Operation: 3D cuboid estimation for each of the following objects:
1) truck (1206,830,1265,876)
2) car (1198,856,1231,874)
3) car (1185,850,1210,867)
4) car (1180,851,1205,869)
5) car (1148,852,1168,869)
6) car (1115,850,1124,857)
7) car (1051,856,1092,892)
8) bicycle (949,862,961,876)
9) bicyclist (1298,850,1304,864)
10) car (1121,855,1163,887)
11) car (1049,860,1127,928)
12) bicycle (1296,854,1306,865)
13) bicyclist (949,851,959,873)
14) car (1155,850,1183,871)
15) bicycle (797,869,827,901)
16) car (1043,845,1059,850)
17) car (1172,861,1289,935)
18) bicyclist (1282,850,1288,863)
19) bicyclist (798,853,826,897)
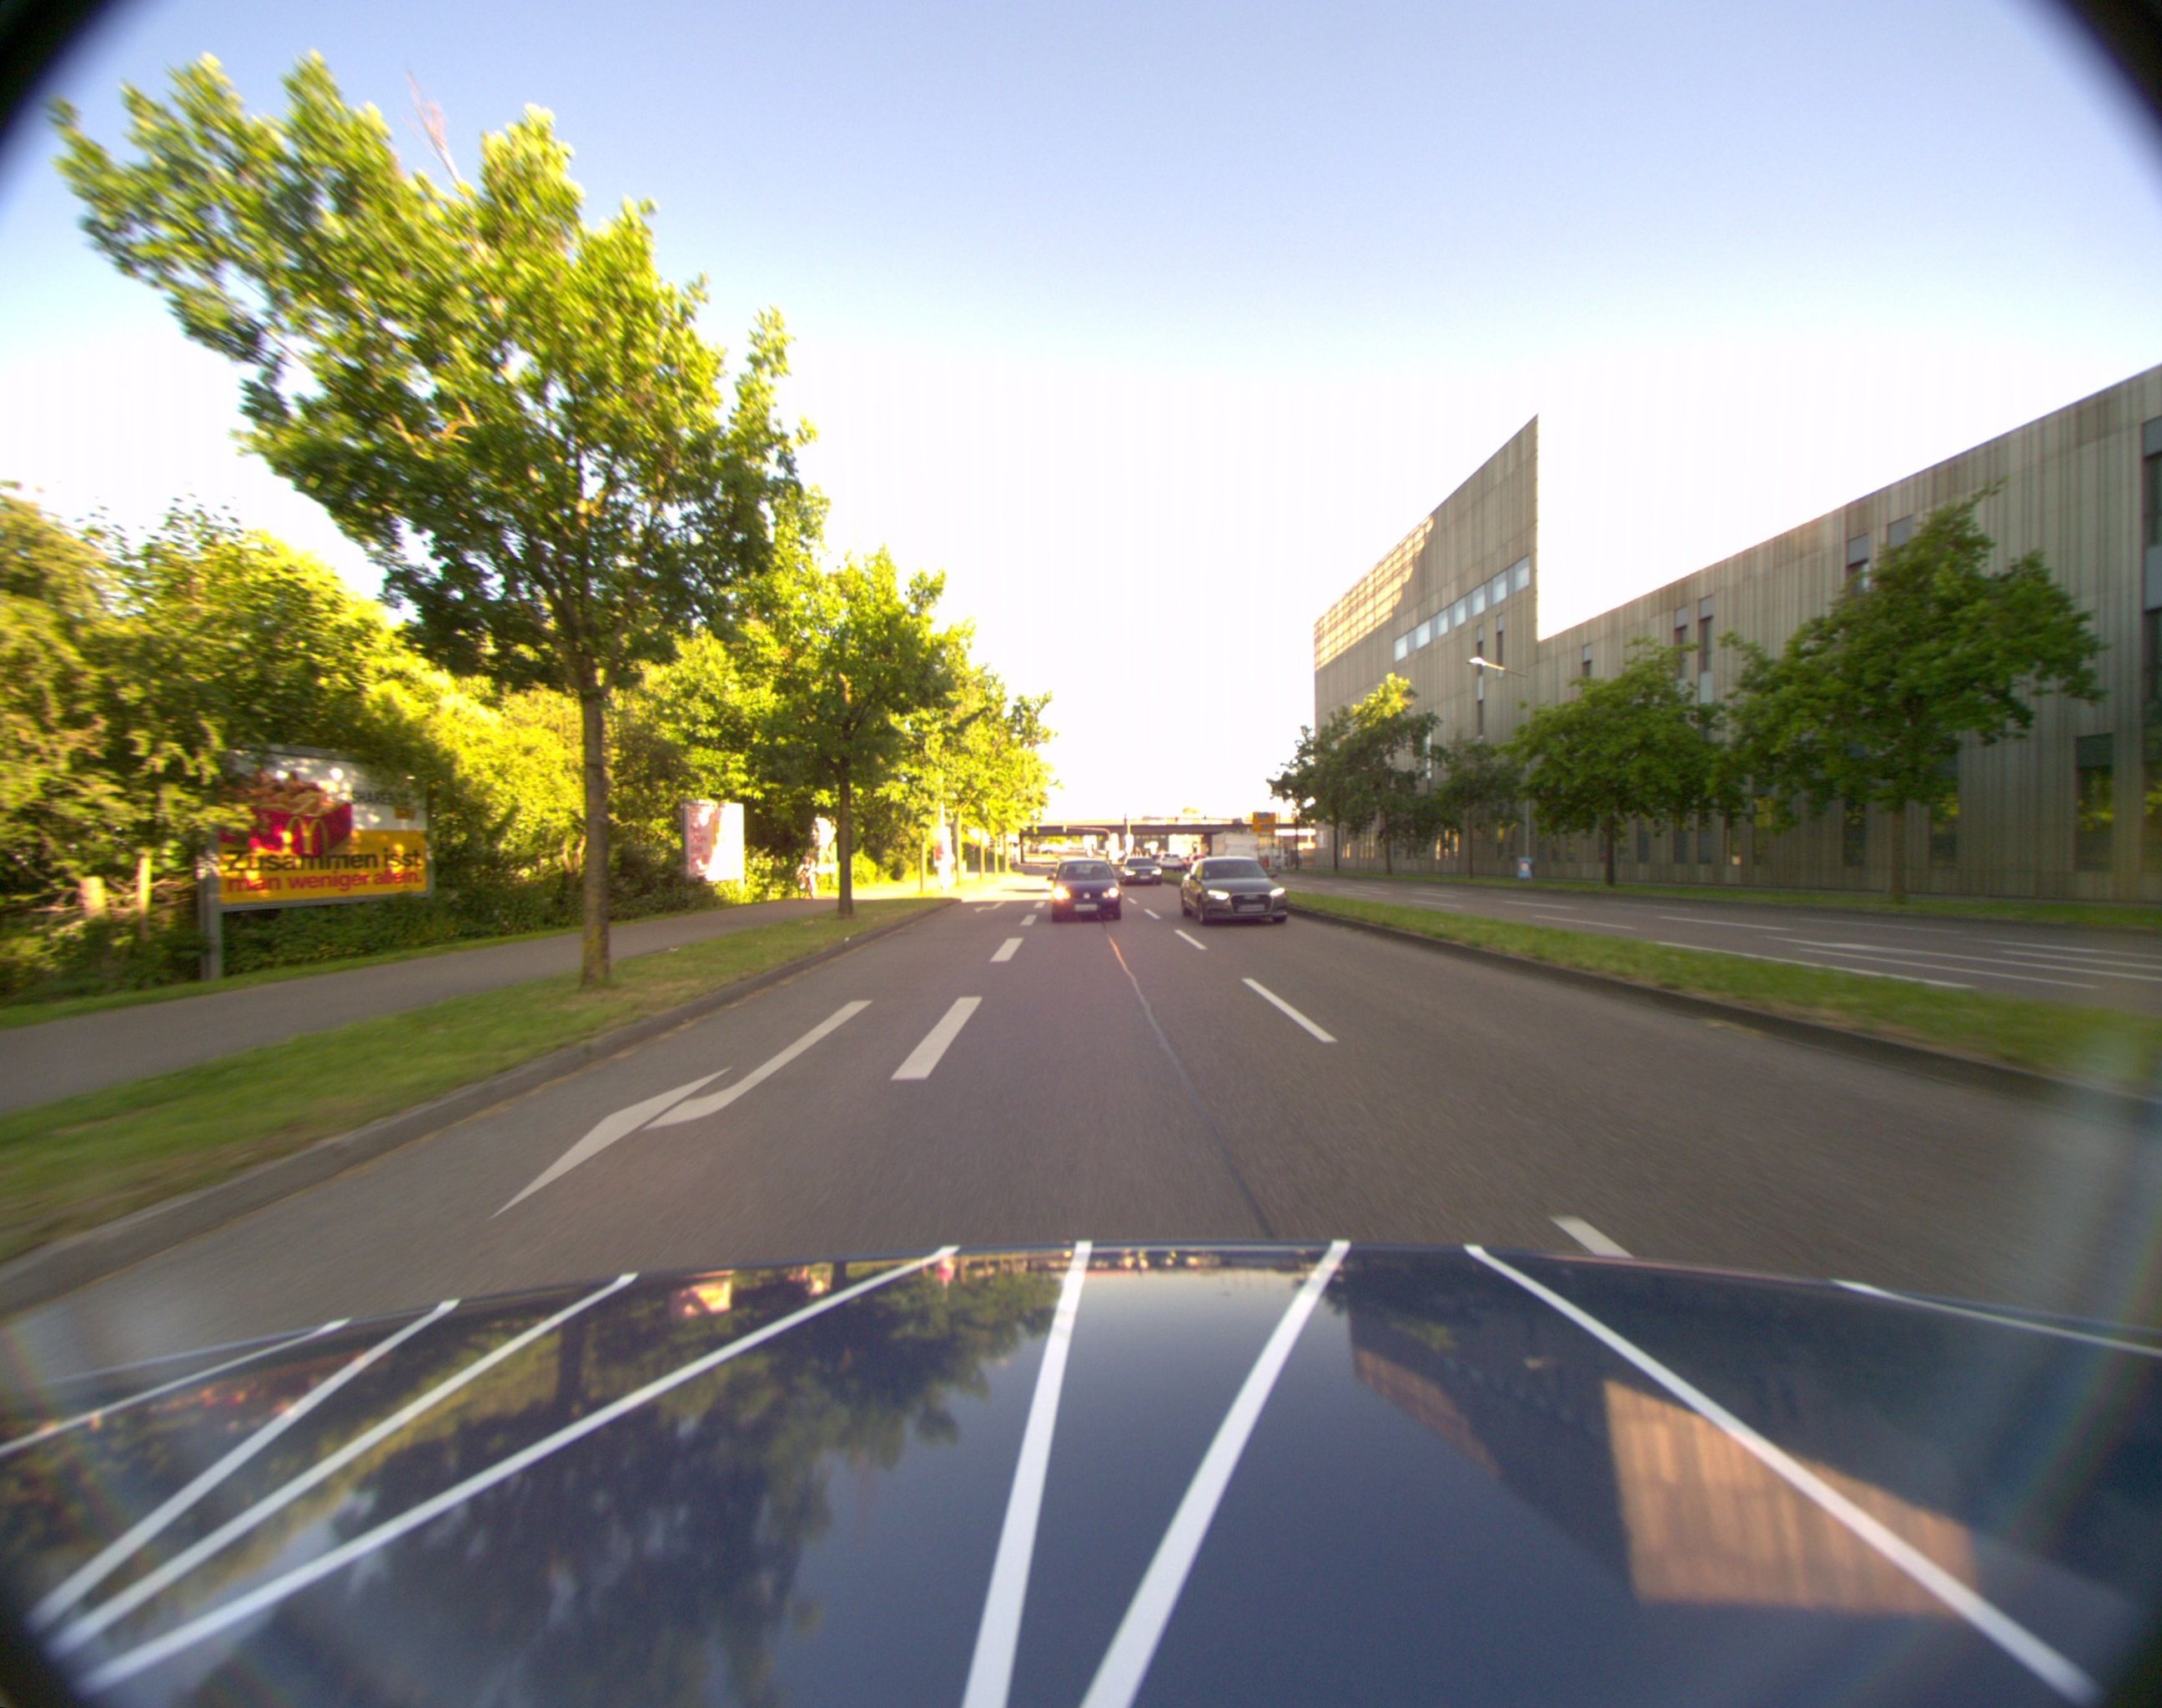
[{"bbox_3d":[10.818,-0.070,53.936,2.693,2.943,7.113,1,0,0],"label":"truck"},{"bbox_3d":[10.740,0.892,61.437,1.840,1.415,4.000,1,0,-1],"label":"car"},{"bbox_3d":[10.491,0.395,68.400,1.624,1.461,3.639,1,0,0],"label":"car"},{"bbox_3d":[10.746,0.595,73.547,1.846,1.646,3.999,1,1,0],"label":"car"},{"bbox_3d":[7.528,0.597,74.096,1.606,1.571,3.212,1,0,0],"label":"car"},{"bbox_3d":[9.069,-0.133,179.752,1.707,1.433,4.880,1,0,-1],"label":"car"},{"bbox_3d":[-0.440,0.875,34.180,1.702,1.478,3.946,-1,0,-1],"label":"car"},{"bbox_3d":[-9.469,1.119,57.014,0.573,0.986,2.046,-1,0,-1],"label":"bicycle"},{"bbox_3d":[25.057,0.337,86.399,0.508,1.498,0.644,0,0,-2],"label":"bicyclist"},{"bbox_3d":[3.071,0.814,38.851,1.702,1.528,3.946,-1,0,-1],"label":"car"},{"bbox_3d":[0.113,0.933,19.120,1.702,1.474,4.052,-1,-1,-1],"label":"car"},{"bbox_3d":[25.056,0.639,86.449,0.513,1.262,2.099,0,0,-2],"label":"bicycle"},{"bbox_3d":[-9.489,0.579,56.831,0.566,1.600,0.865,-1,1,-1],"label":"bicyclist"},{"bbox_3d":[7.643,0.549,66.256,1.829,1.672,4.658,1,0,-1],"label":"car"},{"bbox_3d":[-9.643,1.096,27.279,0.517,1.066,1.935,-1,0,-4],"label":"bicycle"},{"bbox_3d":[-8.483,-1.911,213.450,1.994,1.433,4.867,0,0,-38],"label":"car"},{"bbox_3d":[3.233,0.883,17.243,1.702,1.396,4.364,-1,0,-1],"label":"car"},{"bbox_3d":[23.603,0.290,87.981,0.509,1.434,0.753,0,0,-2],"label":"bicyclist"},{"bbox_3d":[-9.632,0.738,27.240,0.687,1.513,1.035,-1,1,-4],"label":"bicyclist"}]
